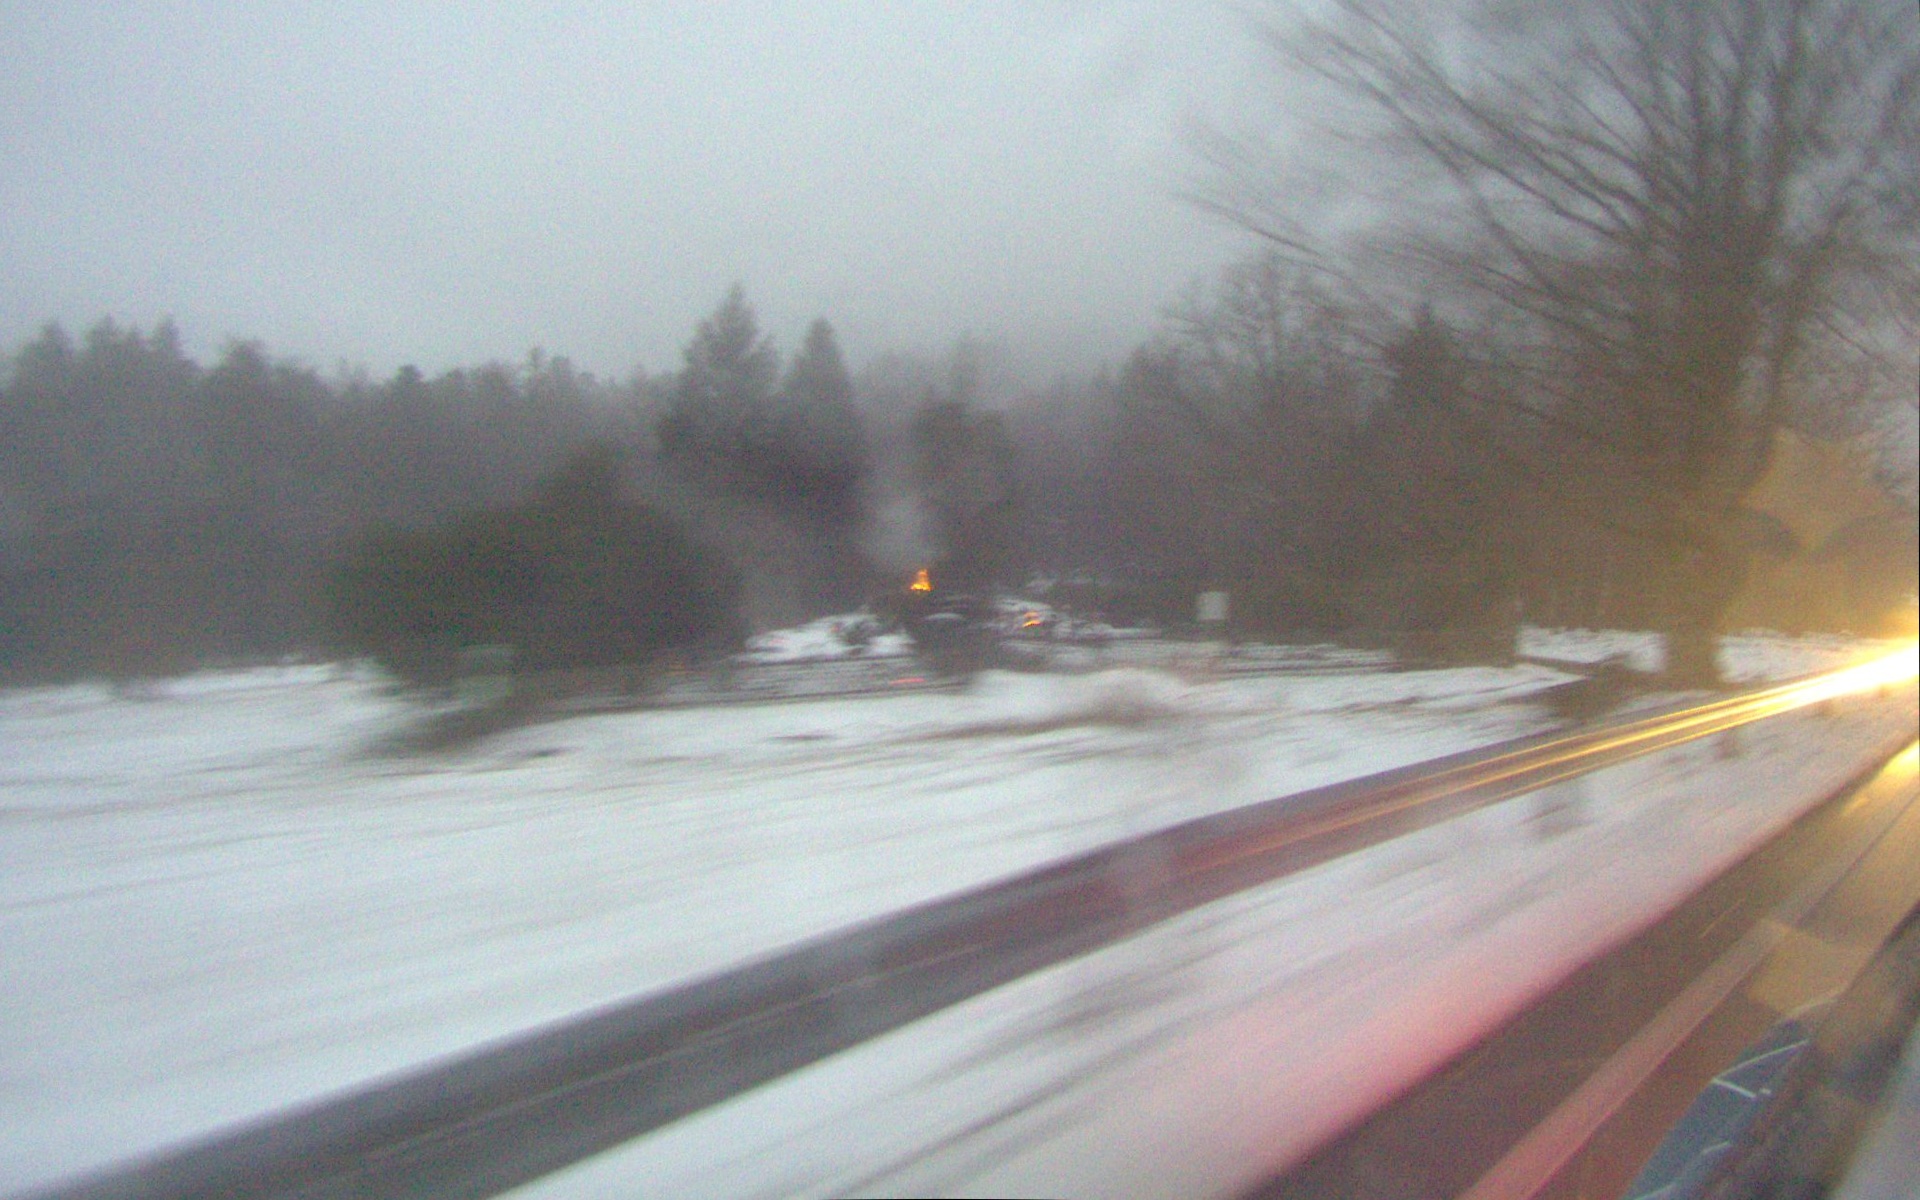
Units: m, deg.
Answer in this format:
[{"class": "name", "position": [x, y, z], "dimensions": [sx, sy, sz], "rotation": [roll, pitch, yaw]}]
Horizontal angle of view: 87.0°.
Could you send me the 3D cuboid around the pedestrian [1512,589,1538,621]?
[{"class": "pedestrian", "position": [33.331, 0.288, 59.751], "dimensions": [0.943, 1.851, 0.927], "rotation": [2, -2, -16]}]
